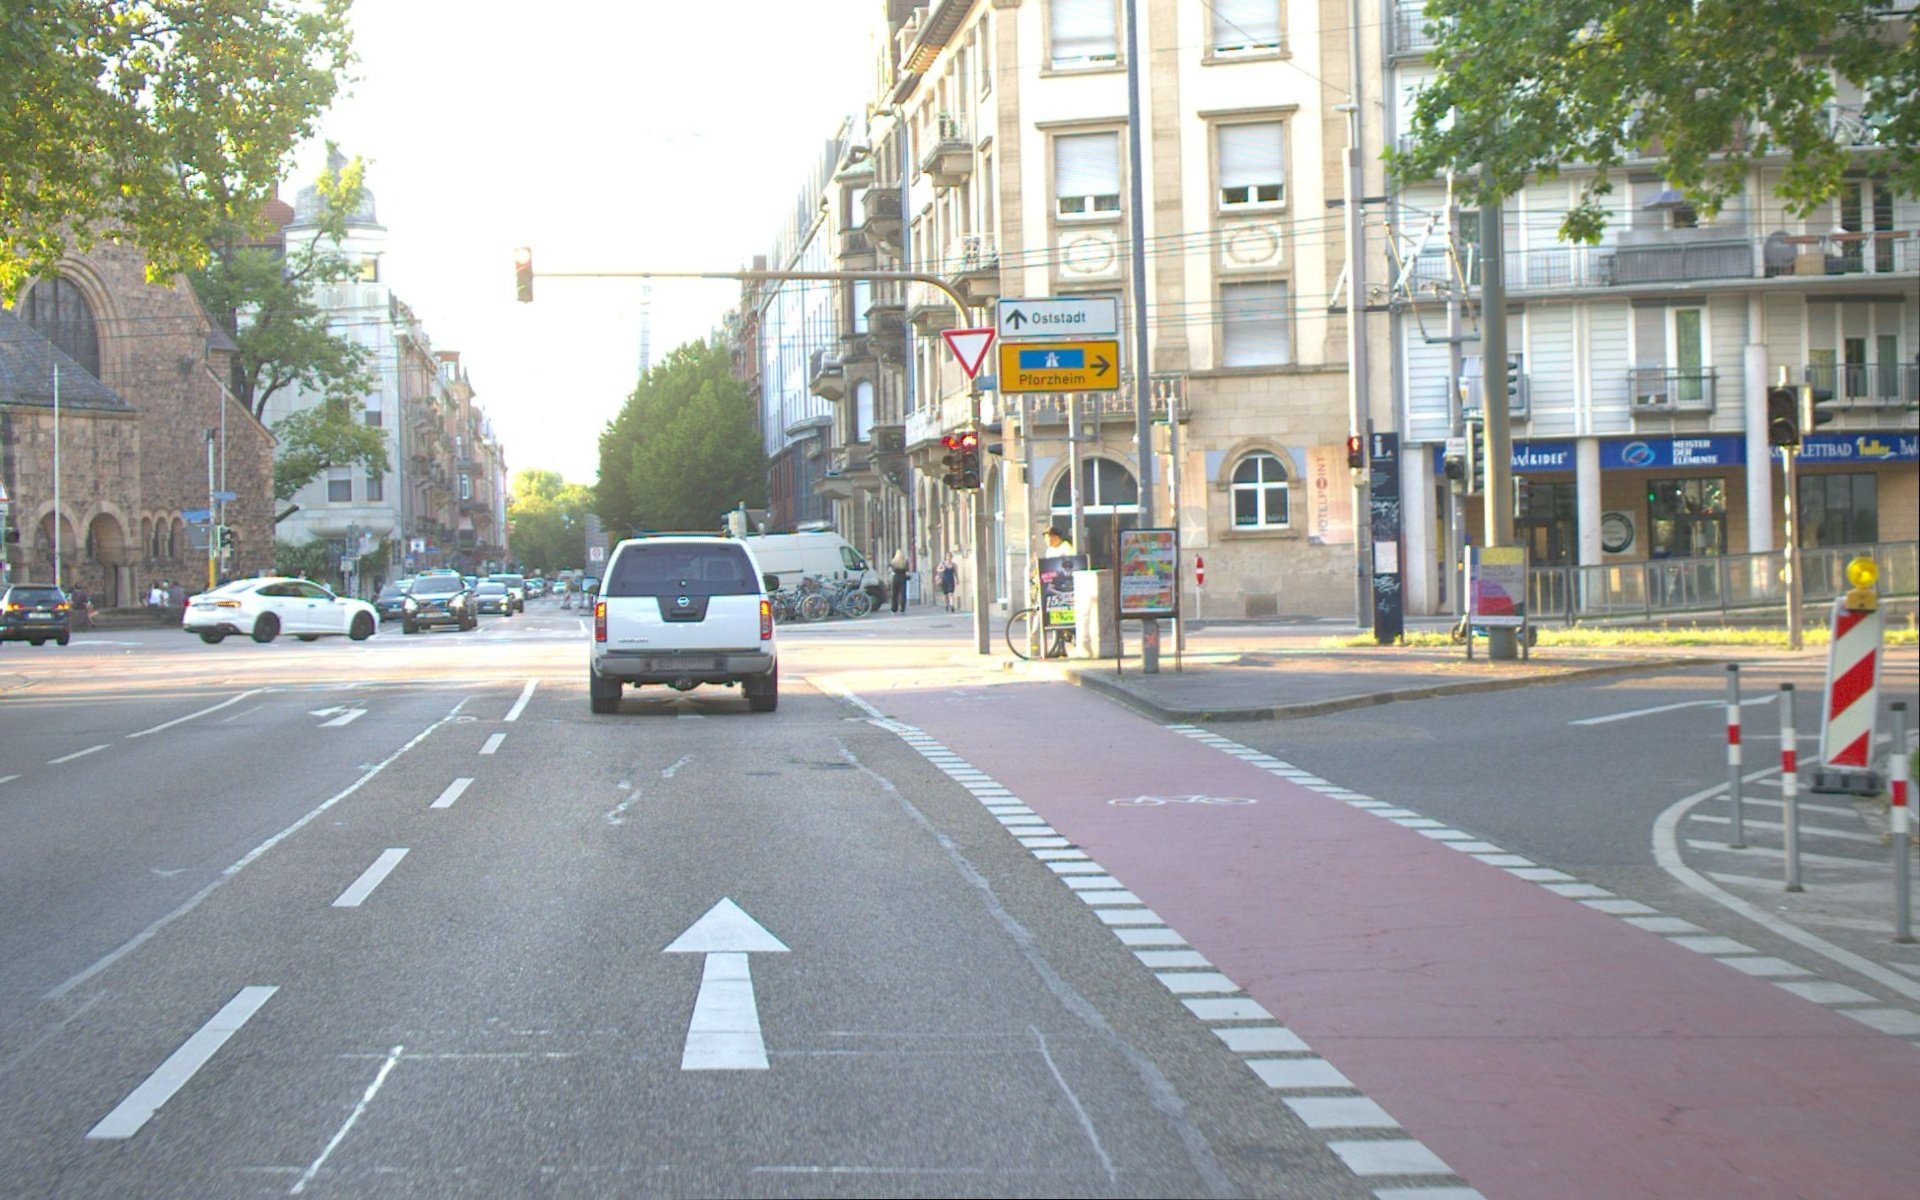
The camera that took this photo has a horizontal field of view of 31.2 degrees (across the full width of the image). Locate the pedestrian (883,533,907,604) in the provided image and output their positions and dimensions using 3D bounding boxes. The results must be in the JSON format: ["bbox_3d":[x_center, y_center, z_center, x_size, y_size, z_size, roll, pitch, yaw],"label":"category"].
[{"bbox_3d":[-1.748,-0.838,92.067,0.593,1.880,0.647,-1,1,0],"label":"pedestrian"}]

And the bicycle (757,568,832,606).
[{"bbox_3d":[-4.421,-0.349,91.687,1.914,0.965,0.546,-1,1,-11],"label":"bicycle"}]

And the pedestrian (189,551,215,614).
[{"bbox_3d":[-22.692,-0.523,102.958,0.593,1.880,0.553,-1,1,5],"label":"pedestrian"}]

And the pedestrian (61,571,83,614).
[{"bbox_3d":[-26.283,-0.226,101.756,0.497,1.276,0.492,-1,1,-26],"label":"pedestrian"}]

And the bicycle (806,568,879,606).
[{"bbox_3d":[-3.117,-0.339,91.305,1.914,0.965,0.546,-1,1,-3],"label":"bicycle"}]

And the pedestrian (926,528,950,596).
[{"bbox_3d":[-0.585,-1.001,90.424,0.593,1.762,0.653,-1,1,0],"label":"pedestrian"}]

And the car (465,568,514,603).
[{"bbox_3d":[-20.736,-0.657,151.353,1.993,1.501,3.822,0,1,-10],"label":"car"}]

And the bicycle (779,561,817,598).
[{"bbox_3d":[-4.412,-0.568,93.799,0.544,0.965,1.920,-1,1,12],"label":"bicycle"}]

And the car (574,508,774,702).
[{"bbox_3d":[-2.881,0.027,35.242,1.866,1.808,4.001,-2,1,-3],"label":"car"}]

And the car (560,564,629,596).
[{"bbox_3d":[-21.706,-1.215,204.265,3.986,1.809,2.000,-1,1,-8],"label":"car"}]

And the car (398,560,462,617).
[{"bbox_3d":[-15.691,-0.344,101.683,1.781,1.645,3.822,0,0,-10],"label":"car"}]

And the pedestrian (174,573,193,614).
[{"bbox_3d":[-24.327,-0.197,107.666,0.491,1.282,0.499,-1,1,-5],"label":"pedestrian"}]

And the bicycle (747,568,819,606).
[{"bbox_3d":[-4.764,-0.358,92.479,1.914,0.965,0.546,-1,1,-3],"label":"bicycle"}]

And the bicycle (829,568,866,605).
[{"bbox_3d":[-3.046,-0.360,93.455,0.544,0.965,1.920,-1,1,12],"label":"bicycle"}]

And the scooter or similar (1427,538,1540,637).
[{"bbox_3d":[6.697,-0.161,44.042,0.544,1.246,1.389,-2,1,-42],"label":"scooter or similar"}]

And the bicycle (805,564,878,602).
[{"bbox_3d":[-3.136,-0.451,91.023,1.914,0.965,0.546,-1,1,-3],"label":"bicycle"}]

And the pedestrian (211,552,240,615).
[{"bbox_3d":[-21.984,-0.490,102.892,0.654,1.880,0.585,-1,1,6],"label":"pedestrian"}]

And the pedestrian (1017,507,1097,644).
[{"bbox_3d":[1.260,-0.320,44.763,0.794,1.762,0.721,-1,1,-19],"label":"pedestrian"}]

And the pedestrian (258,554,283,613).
[{"bbox_3d":[-22.194,-0.547,110.686,0.593,1.880,0.553,-1,1,12],"label":"pedestrian"}]

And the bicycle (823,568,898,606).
[{"bbox_3d":[-2.677,-0.342,92.106,1.916,0.965,0.545,-1,1,13],"label":"bicycle"}]

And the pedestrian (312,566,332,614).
[{"bbox_3d":[-24.840,-0.393,133.862,0.552,1.880,0.595,-1,1,10],"label":"pedestrian"}]

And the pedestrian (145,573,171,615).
[{"bbox_3d":[-25.093,-0.189,107.564,0.573,1.286,0.486,-1,1,16],"label":"pedestrian"}]

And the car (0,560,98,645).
[{"bbox_3d":[-21.862,0.030,79.447,2.079,1.835,4.630,-2,2,-37],"label":"car"}]

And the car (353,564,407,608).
[{"bbox_3d":[-22.113,-0.550,131.024,1.993,1.645,3.822,0,0,-10],"label":"car"}]

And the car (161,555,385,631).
[{"bbox_3d":[-14.799,-0.165,74.259,1.997,1.525,4.635,0,1,34],"label":"car"}]

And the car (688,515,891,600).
[{"bbox_3d":[-4.801,-1.215,97.488,5.808,2.280,2.071,-2,1,-45],"label":"car"}]

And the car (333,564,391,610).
[{"bbox_3d":[-21.450,-0.476,123.280,1.993,1.645,3.822,0,0,-10],"label":"car"}]

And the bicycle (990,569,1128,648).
[{"bbox_3d":[1.275,0.108,44.269,1.691,0.965,0.546,-1,1,-8],"label":"bicycle"}]
